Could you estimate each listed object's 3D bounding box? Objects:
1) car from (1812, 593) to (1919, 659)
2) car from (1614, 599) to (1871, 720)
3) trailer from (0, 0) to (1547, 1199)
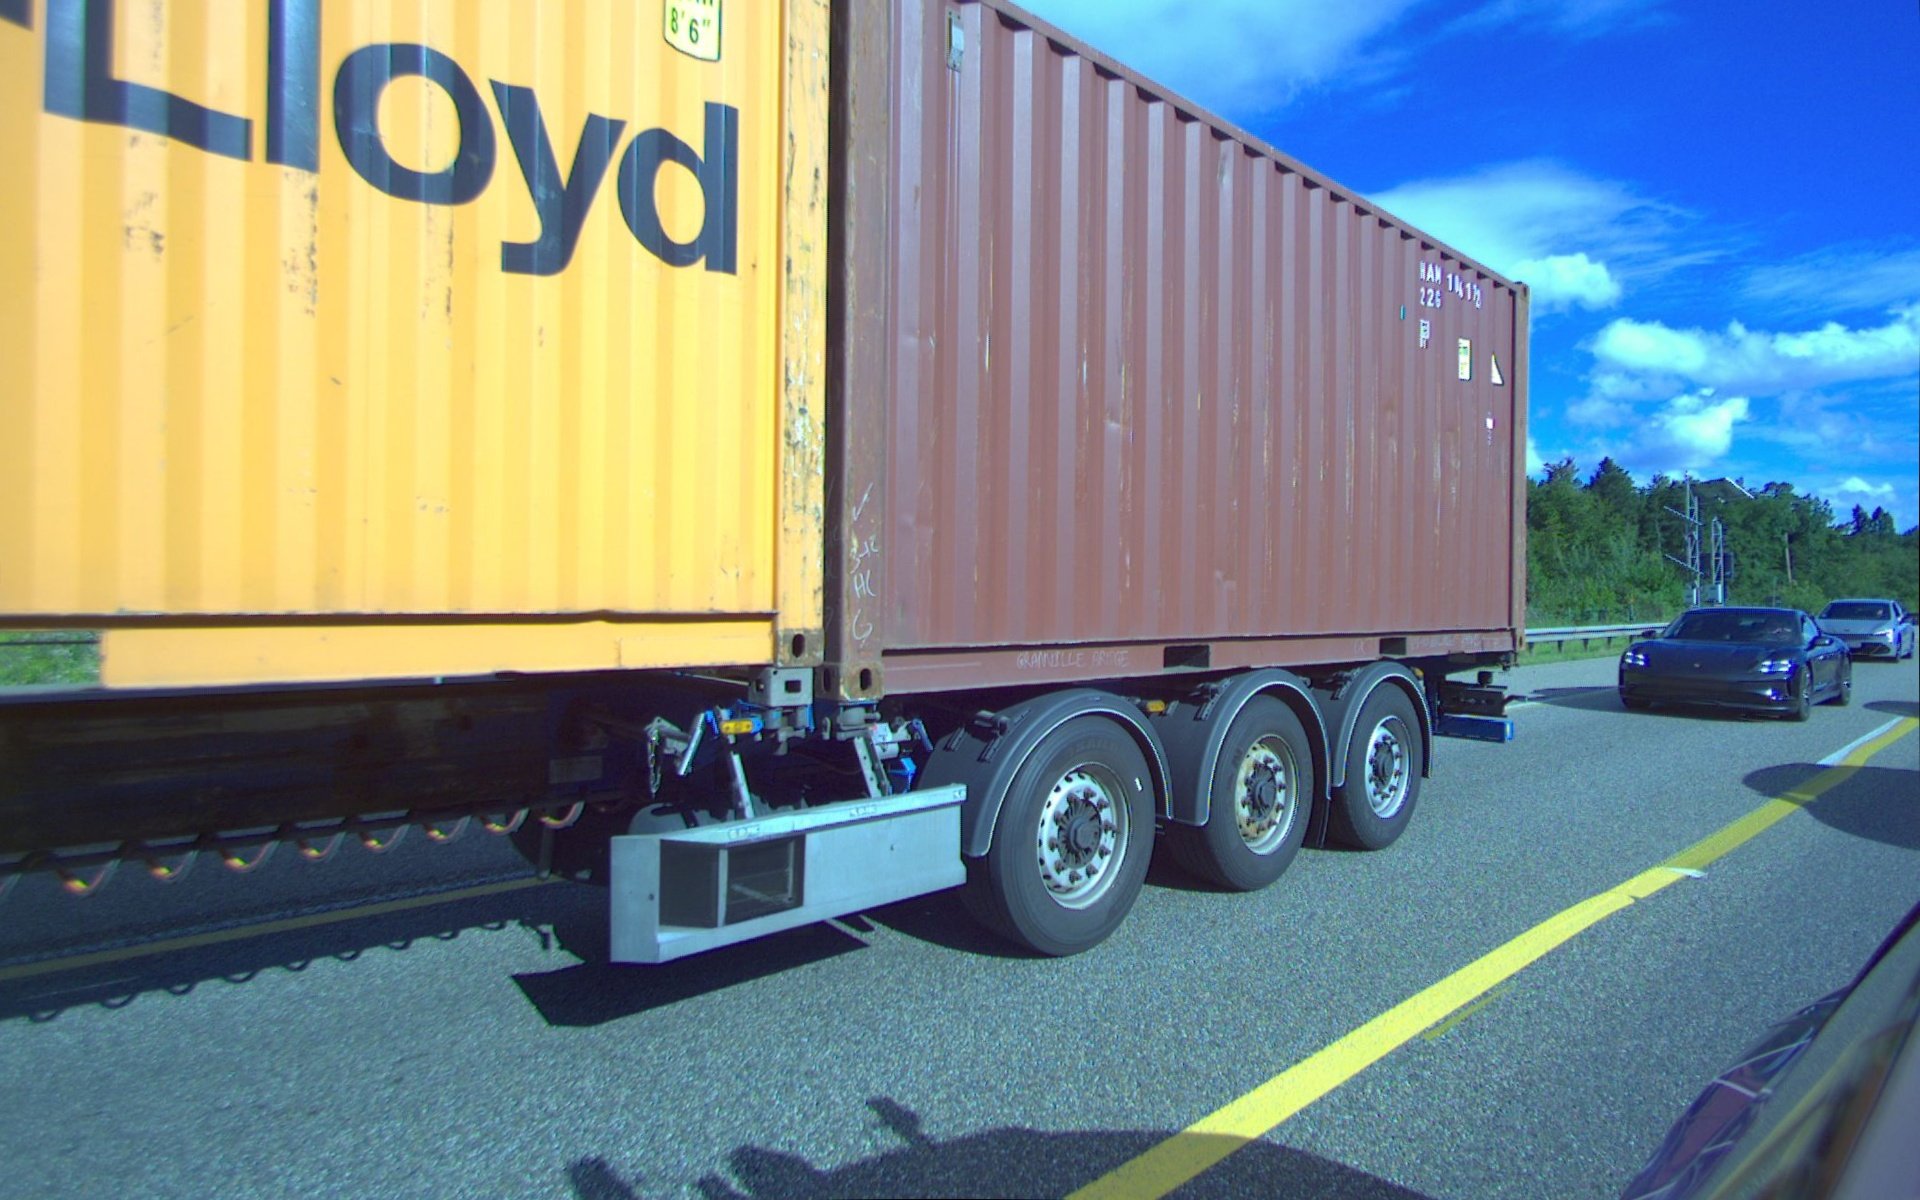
[{"bbox_3d":[23.043,0.591,25.519,3.898,1.498,1.761,-1,1,-41],"label":"car"},{"bbox_3d":[10.784,0.679,13.830,4.399,1.367,1.932,0,0,-41],"label":"car"},{"bbox_3d":[-1.134,-0.560,4.162,11.924,3.822,2.475,0,0,-41],"label":"trailer"}]
